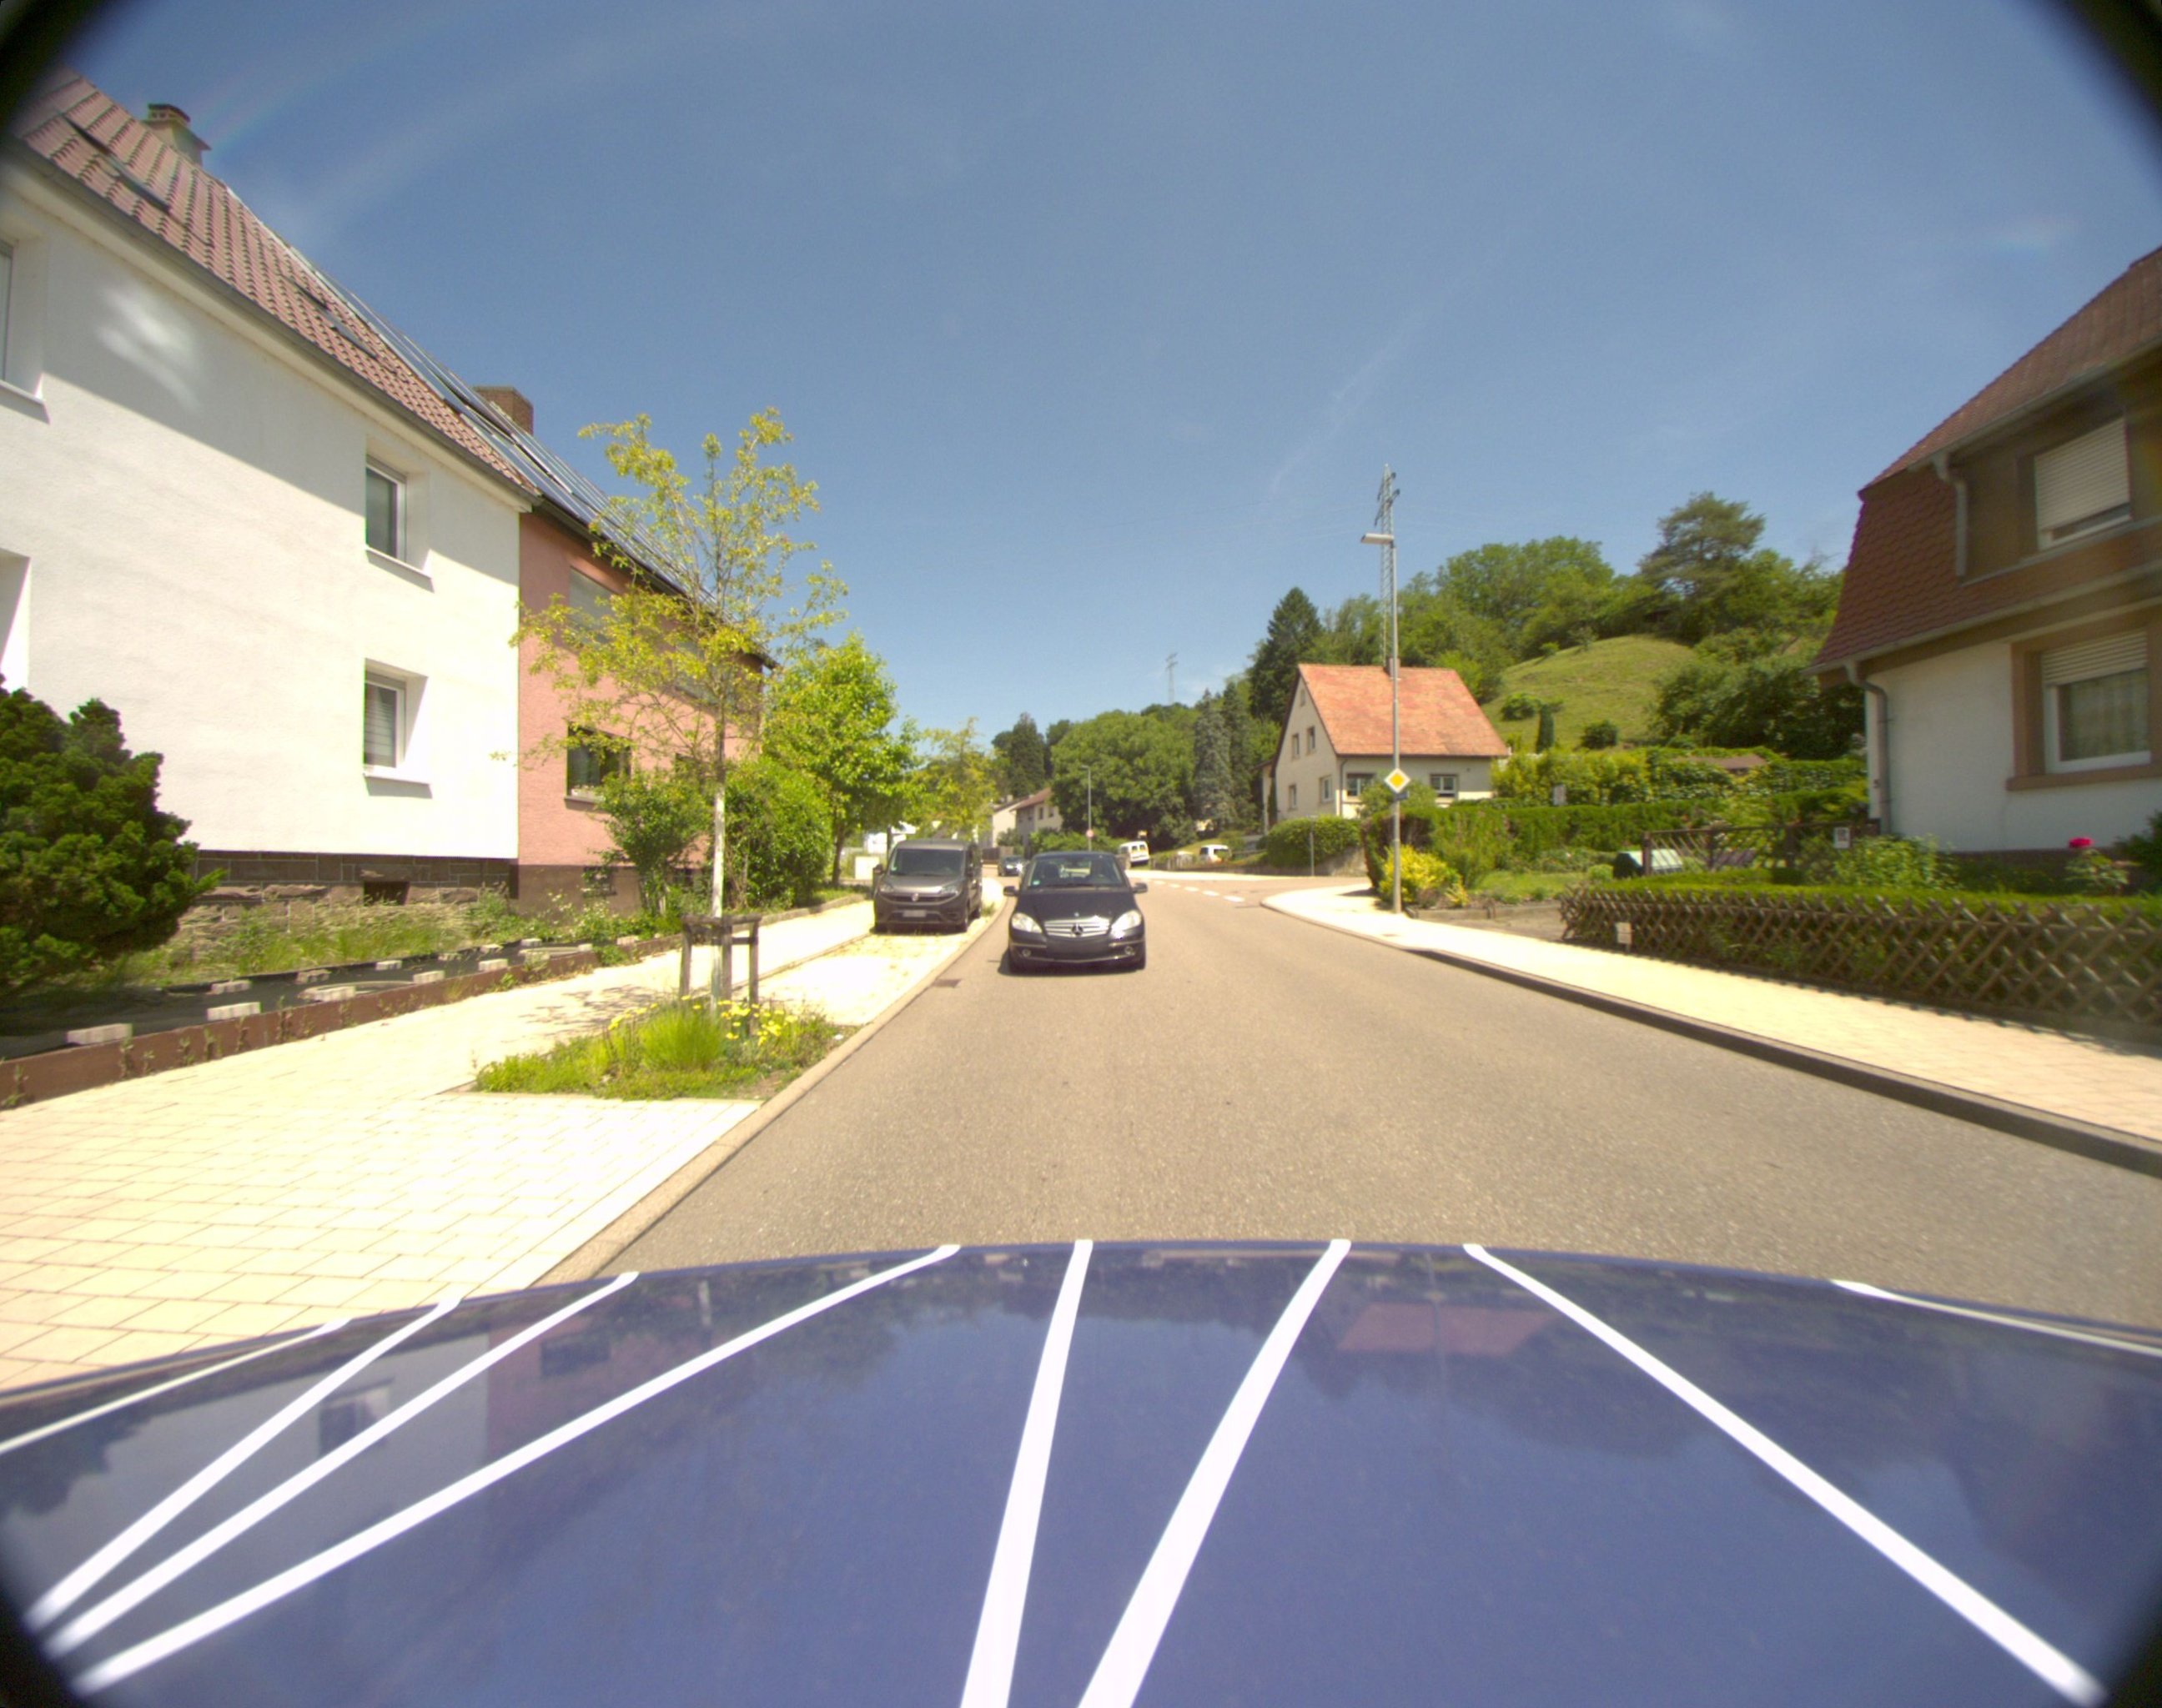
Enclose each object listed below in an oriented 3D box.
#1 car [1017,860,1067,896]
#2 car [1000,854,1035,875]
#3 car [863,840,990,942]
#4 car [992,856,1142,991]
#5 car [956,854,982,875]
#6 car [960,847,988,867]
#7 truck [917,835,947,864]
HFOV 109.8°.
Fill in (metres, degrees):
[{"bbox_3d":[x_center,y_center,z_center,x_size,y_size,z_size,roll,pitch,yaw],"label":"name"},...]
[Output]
[{"bbox_3d":[-1.588,0.876,29.703,1.668,1.253,3.549,-1,0,-8],"label":"car"},{"bbox_3d":[-4.345,0.694,51.641,1.912,1.342,3.996,-1,0,-11],"label":"car"},{"bbox_3d":[-3.056,0.656,15.980,1.860,1.832,4.669,0,0,-2],"label":"car"},{"bbox_3d":[-0.063,0.852,11.224,1.790,1.595,4.076,-1,0,3],"label":"car"},{"bbox_3d":[-7.617,0.702,51.388,1.676,1.368,3.996,0,0,-9],"label":"car"},{"bbox_3d":[-10.015,0.252,70.929,1.971,1.823,4.458,0,0,-17],"label":"car"},{"bbox_3d":[-18.500,-0.495,94.013,2.810,3.394,8.107,-1,0,-17],"label":"truck"}]
